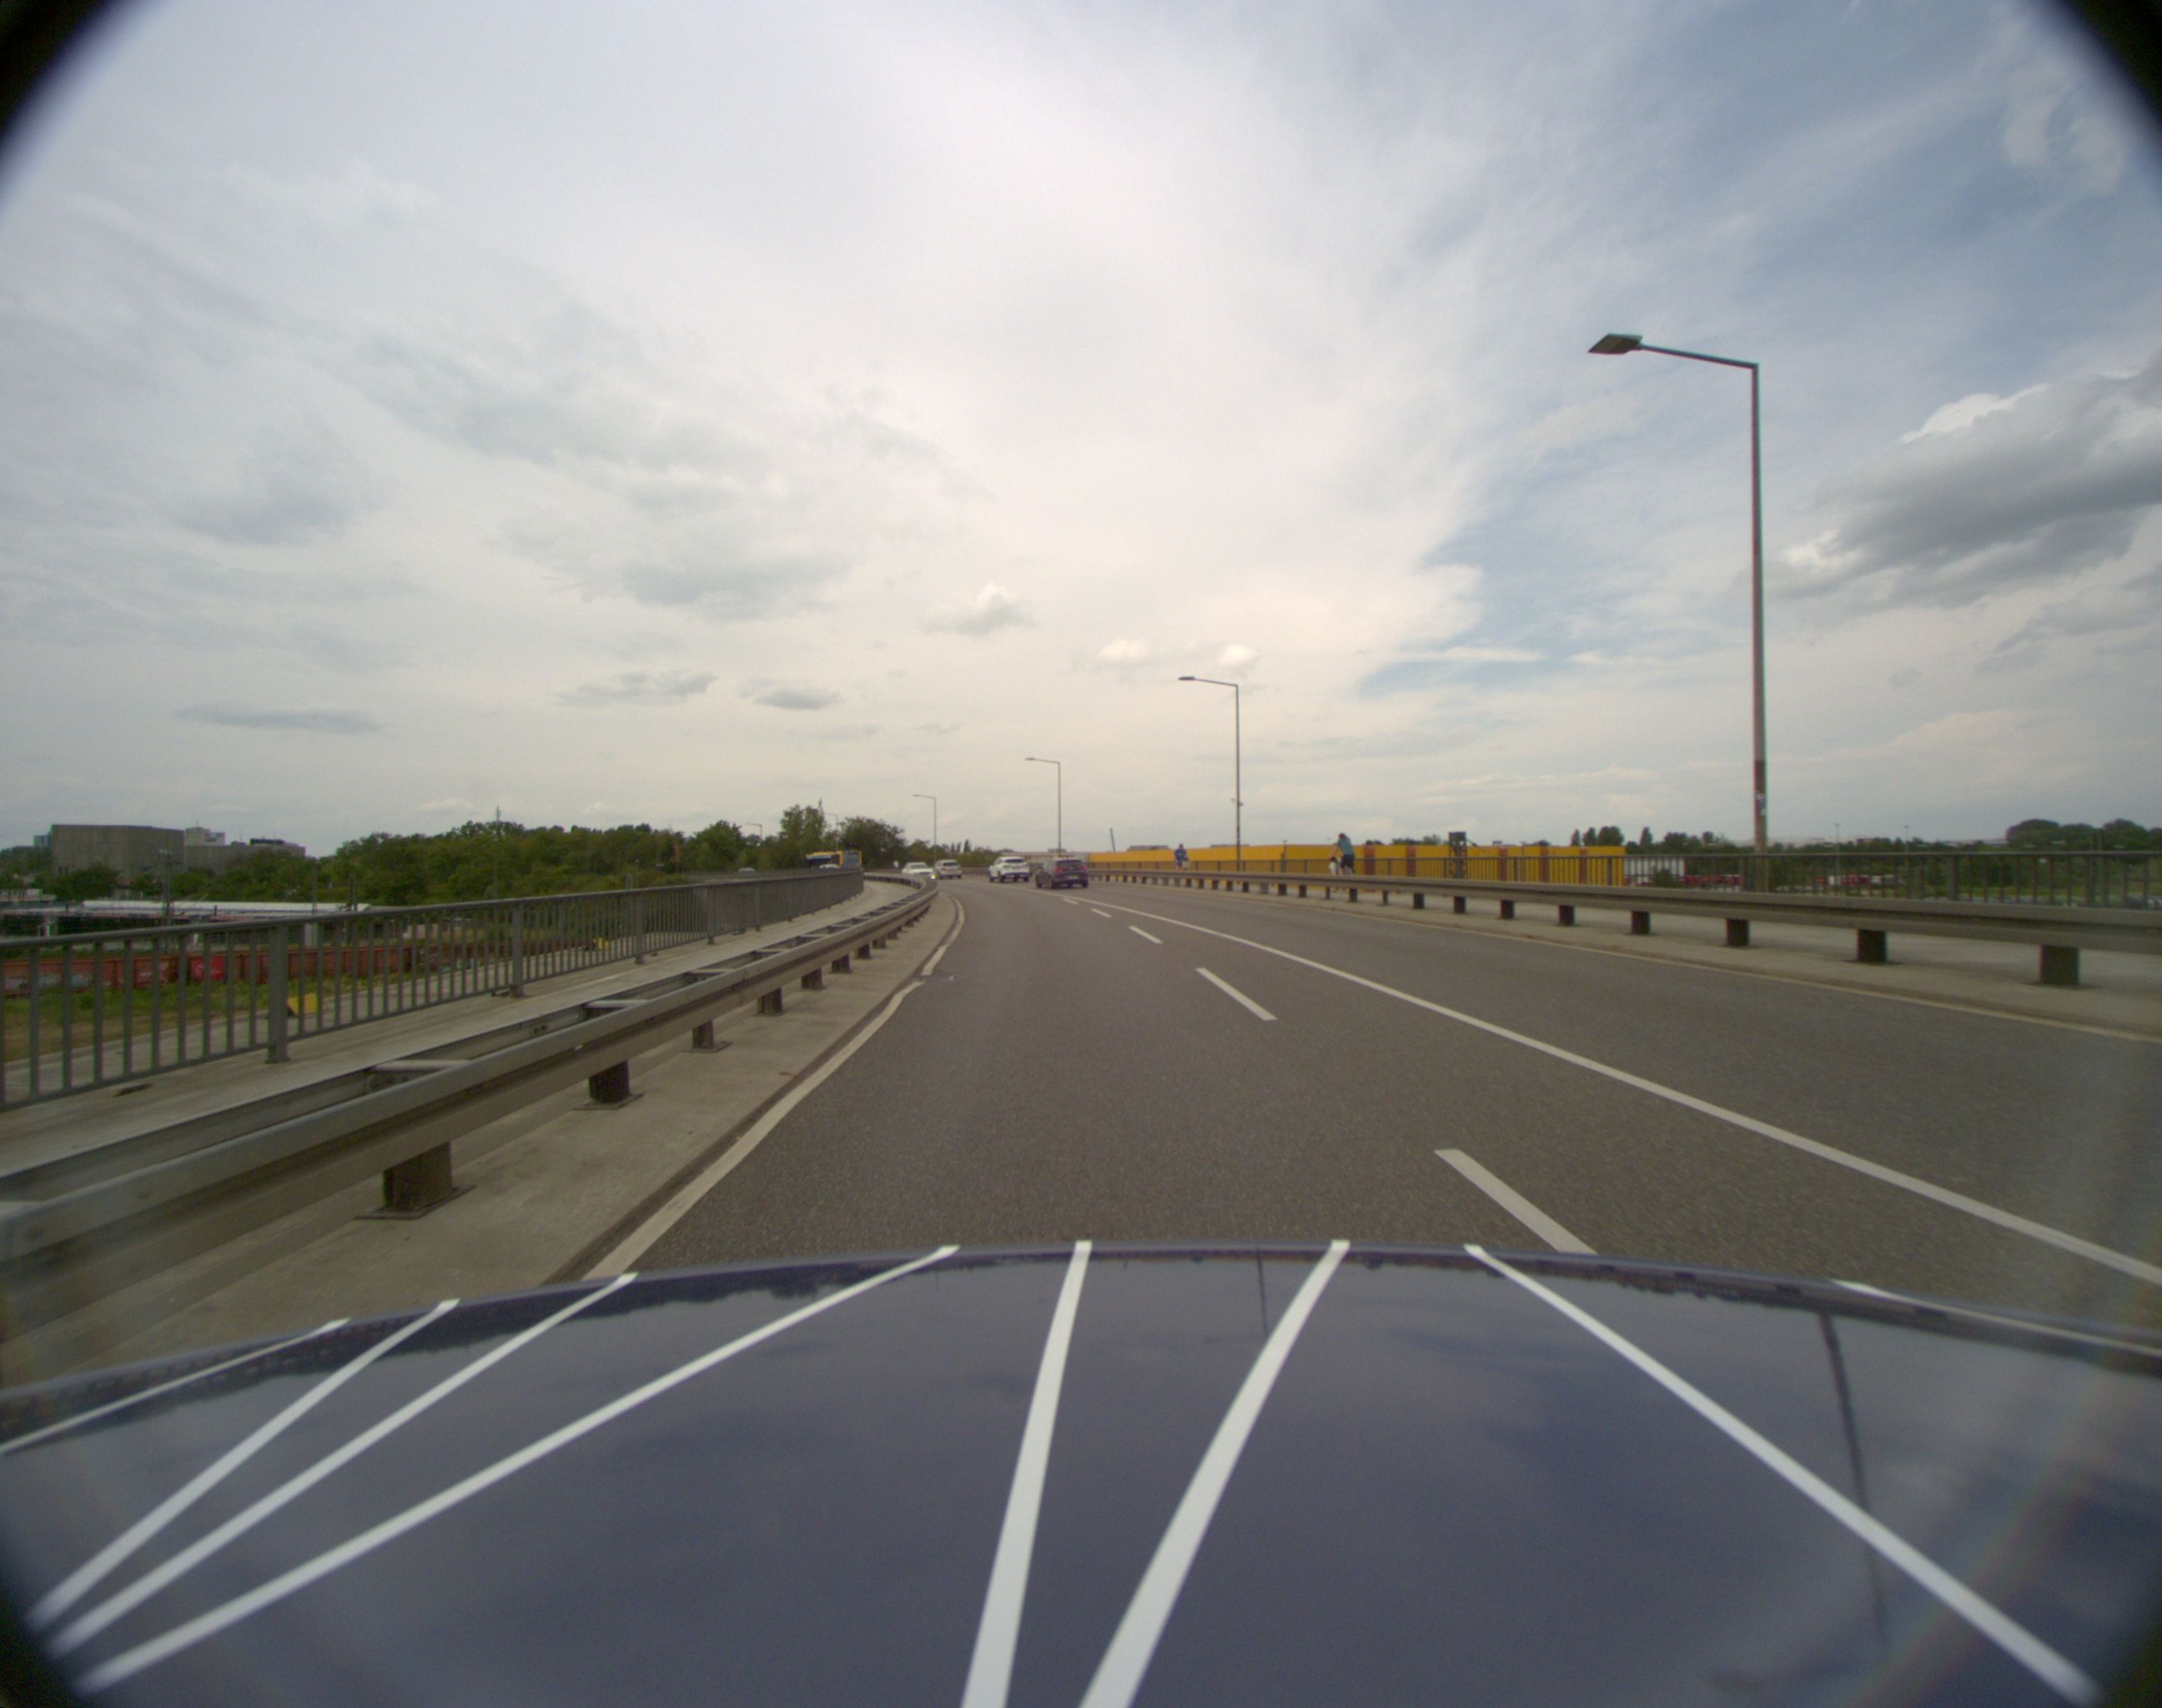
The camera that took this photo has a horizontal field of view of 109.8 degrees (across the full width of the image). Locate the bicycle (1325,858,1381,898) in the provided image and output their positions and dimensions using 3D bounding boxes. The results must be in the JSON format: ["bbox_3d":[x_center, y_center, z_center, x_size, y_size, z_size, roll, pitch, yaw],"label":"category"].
[{"bbox_3d":[7.784,0.664,21.851,0.648,1.061,1.759,-1,0,-14],"label":"bicycle"}]

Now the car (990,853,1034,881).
[{"bbox_3d":[-4.472,0.805,48.550,1.948,1.584,4.767,-2,1,-15],"label":"car"}]

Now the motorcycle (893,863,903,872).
[{"bbox_3d":[-21.360,1.604,88.782,0.629,0.957,1.835,-3,1,-31],"label":"motorcycle"}]

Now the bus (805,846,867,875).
[{"bbox_3d":[-30.094,0.833,92.783,3.047,3.214,12.917,-3,1,-37],"label":"bus"}]

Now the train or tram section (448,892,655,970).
[{"bbox_3d":[-46.172,6.624,67.008,14.267,5.566,3.653,-2,1,-17],"label":"train or tram section"}]

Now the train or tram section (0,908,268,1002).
[{"bbox_3d":[-73.234,7.539,57.841,15.028,5.644,3.970,-2,1,-21],"label":"train or tram section"}]

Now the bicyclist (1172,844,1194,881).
[{"bbox_3d":[4.323,0.362,32.135,0.612,1.531,0.756,-3,1,-16],"label":"bicyclist"}]

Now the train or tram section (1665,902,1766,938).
[{"bbox_3d":[80.681,8.403,96.563,12.767,4.071,2.080,3,0,-11],"label":"train or tram section"}]

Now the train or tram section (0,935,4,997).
[{"bbox_3d":[-88.845,8.243,51.988,18.291,5.610,3.953,-2,1,-20],"label":"train or tram section"}]

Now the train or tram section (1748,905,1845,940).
[{"bbox_3d":[93.212,8.921,98.971,12.767,4.071,2.080,3,0,-11],"label":"train or tram section"}]

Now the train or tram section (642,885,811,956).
[{"bbox_3d":[-32.683,6.041,70.904,13.658,5.542,3.647,-2,1,-15],"label":"train or tram section"}]

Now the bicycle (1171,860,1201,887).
[{"bbox_3d":[4.387,0.802,31.866,0.494,1.039,1.807,-3,1,-16],"label":"bicycle"}]

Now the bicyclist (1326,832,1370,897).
[{"bbox_3d":[7.752,0.297,22.072,0.851,1.798,0.795,-2,1,-14],"label":"bicyclist"}]

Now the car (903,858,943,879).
[{"bbox_3d":[-12.042,1.101,57.758,1.941,1.448,3.878,-3,0,-27],"label":"car"}]

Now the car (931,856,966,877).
[{"bbox_3d":[-10.943,1.006,62.712,1.825,1.611,4.389,-3,1,-23],"label":"car"}]

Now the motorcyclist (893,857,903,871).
[{"bbox_3d":[-21.311,1.144,88.618,0.813,1.520,0.822,-3,1,-32],"label":"motorcyclist"}]

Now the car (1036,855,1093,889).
[{"bbox_3d":[-0.858,0.800,36.585,1.815,1.468,4.377,-2,1,-14],"label":"car"}]

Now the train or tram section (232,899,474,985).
[{"bbox_3d":[-59.577,7.070,62.830,13.919,5.645,3.837,-2,1,-19],"label":"train or tram section"}]
